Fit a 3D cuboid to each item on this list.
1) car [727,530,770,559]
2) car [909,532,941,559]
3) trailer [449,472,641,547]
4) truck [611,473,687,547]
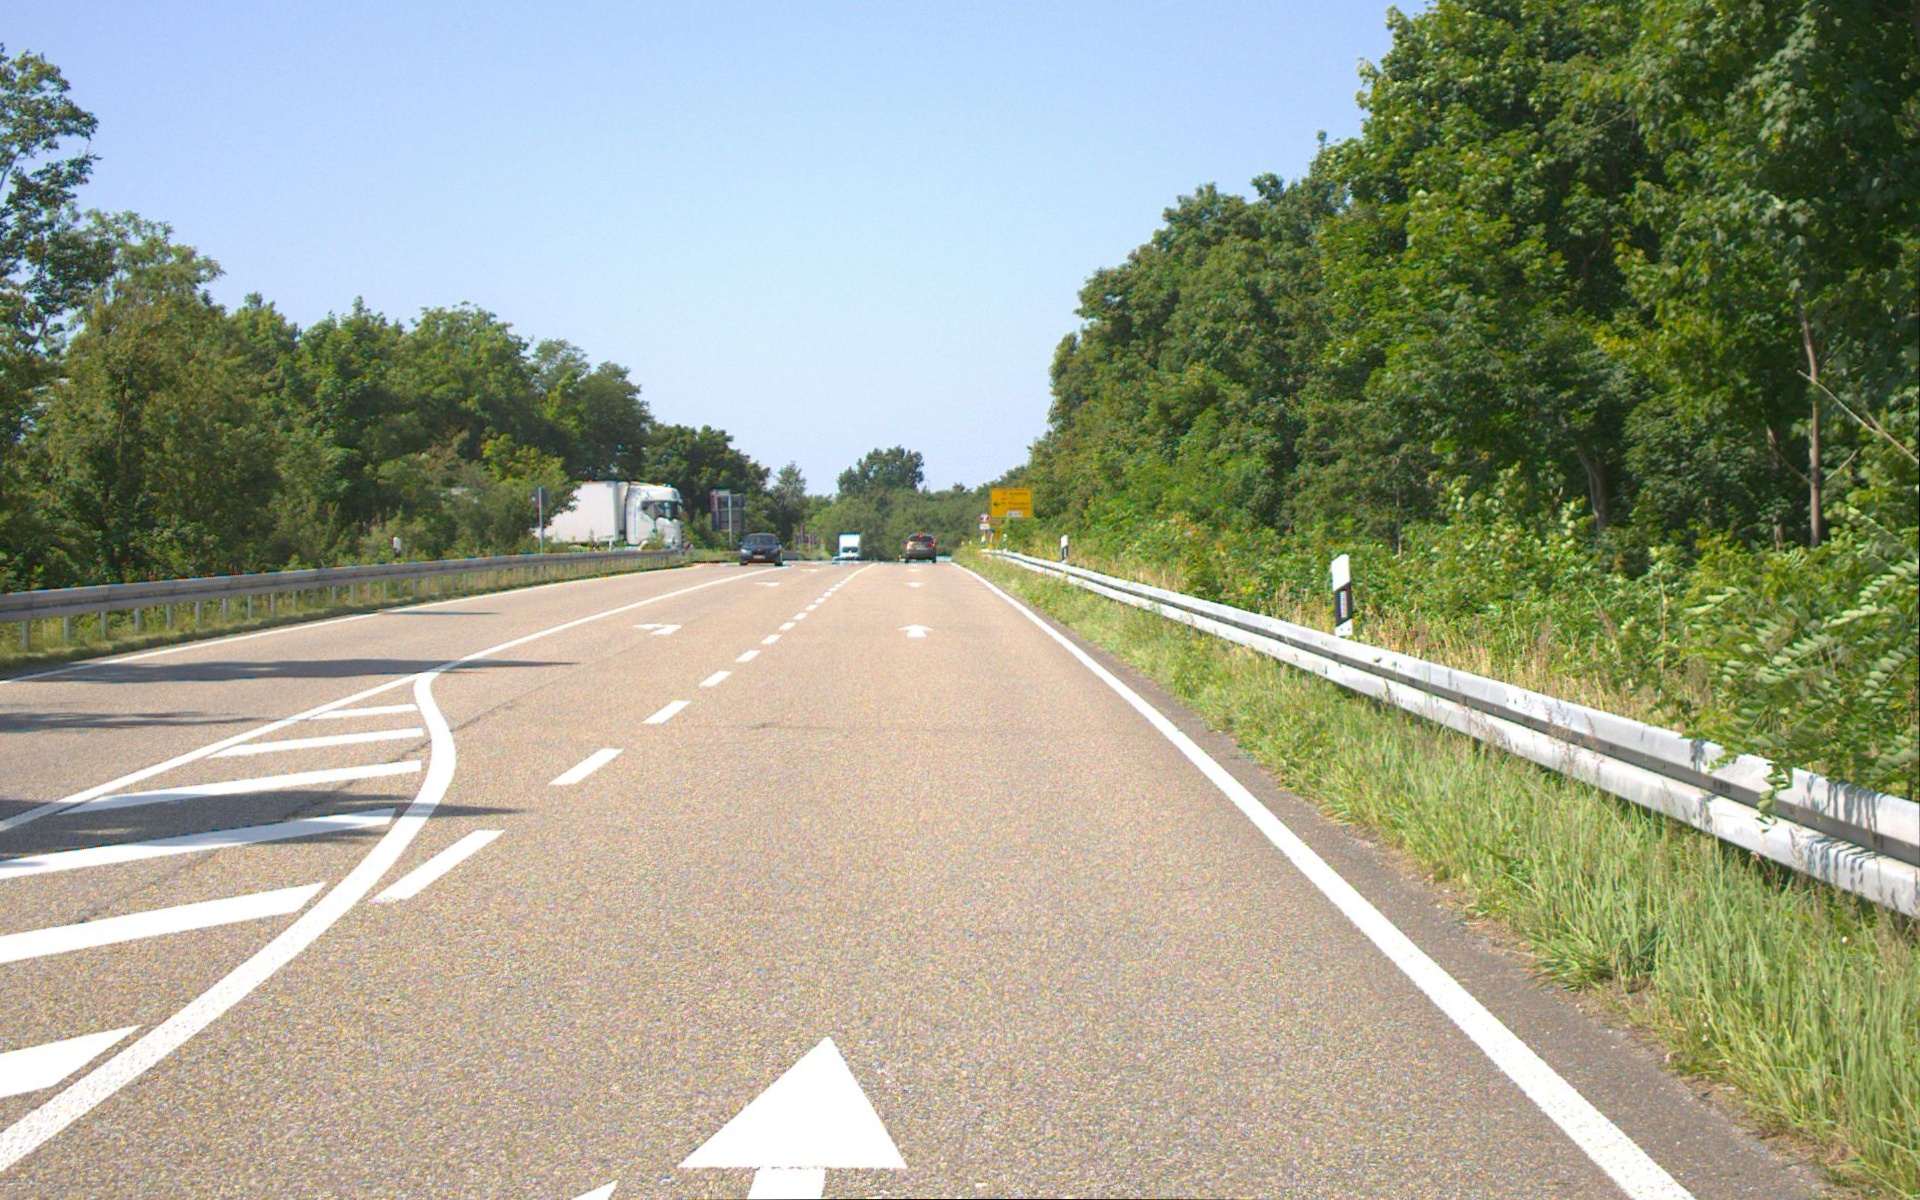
[{"bbox_3d":[-9.474,-2.505,154.257,1.730,1.263,3.905,0,1,-1],"label":"car"},{"bbox_3d":[-1.942,-2.999,189.472,1.741,1.465,3.693,0,1,-1],"label":"car"},{"bbox_3d":[-20.229,-4.407,167.625,9.102,3.566,2.000,0,1,1],"label":"trailer"},{"bbox_3d":[-15.143,-4.381,167.490,3.465,3.525,2.000,0,1,1],"label":"truck"}]
